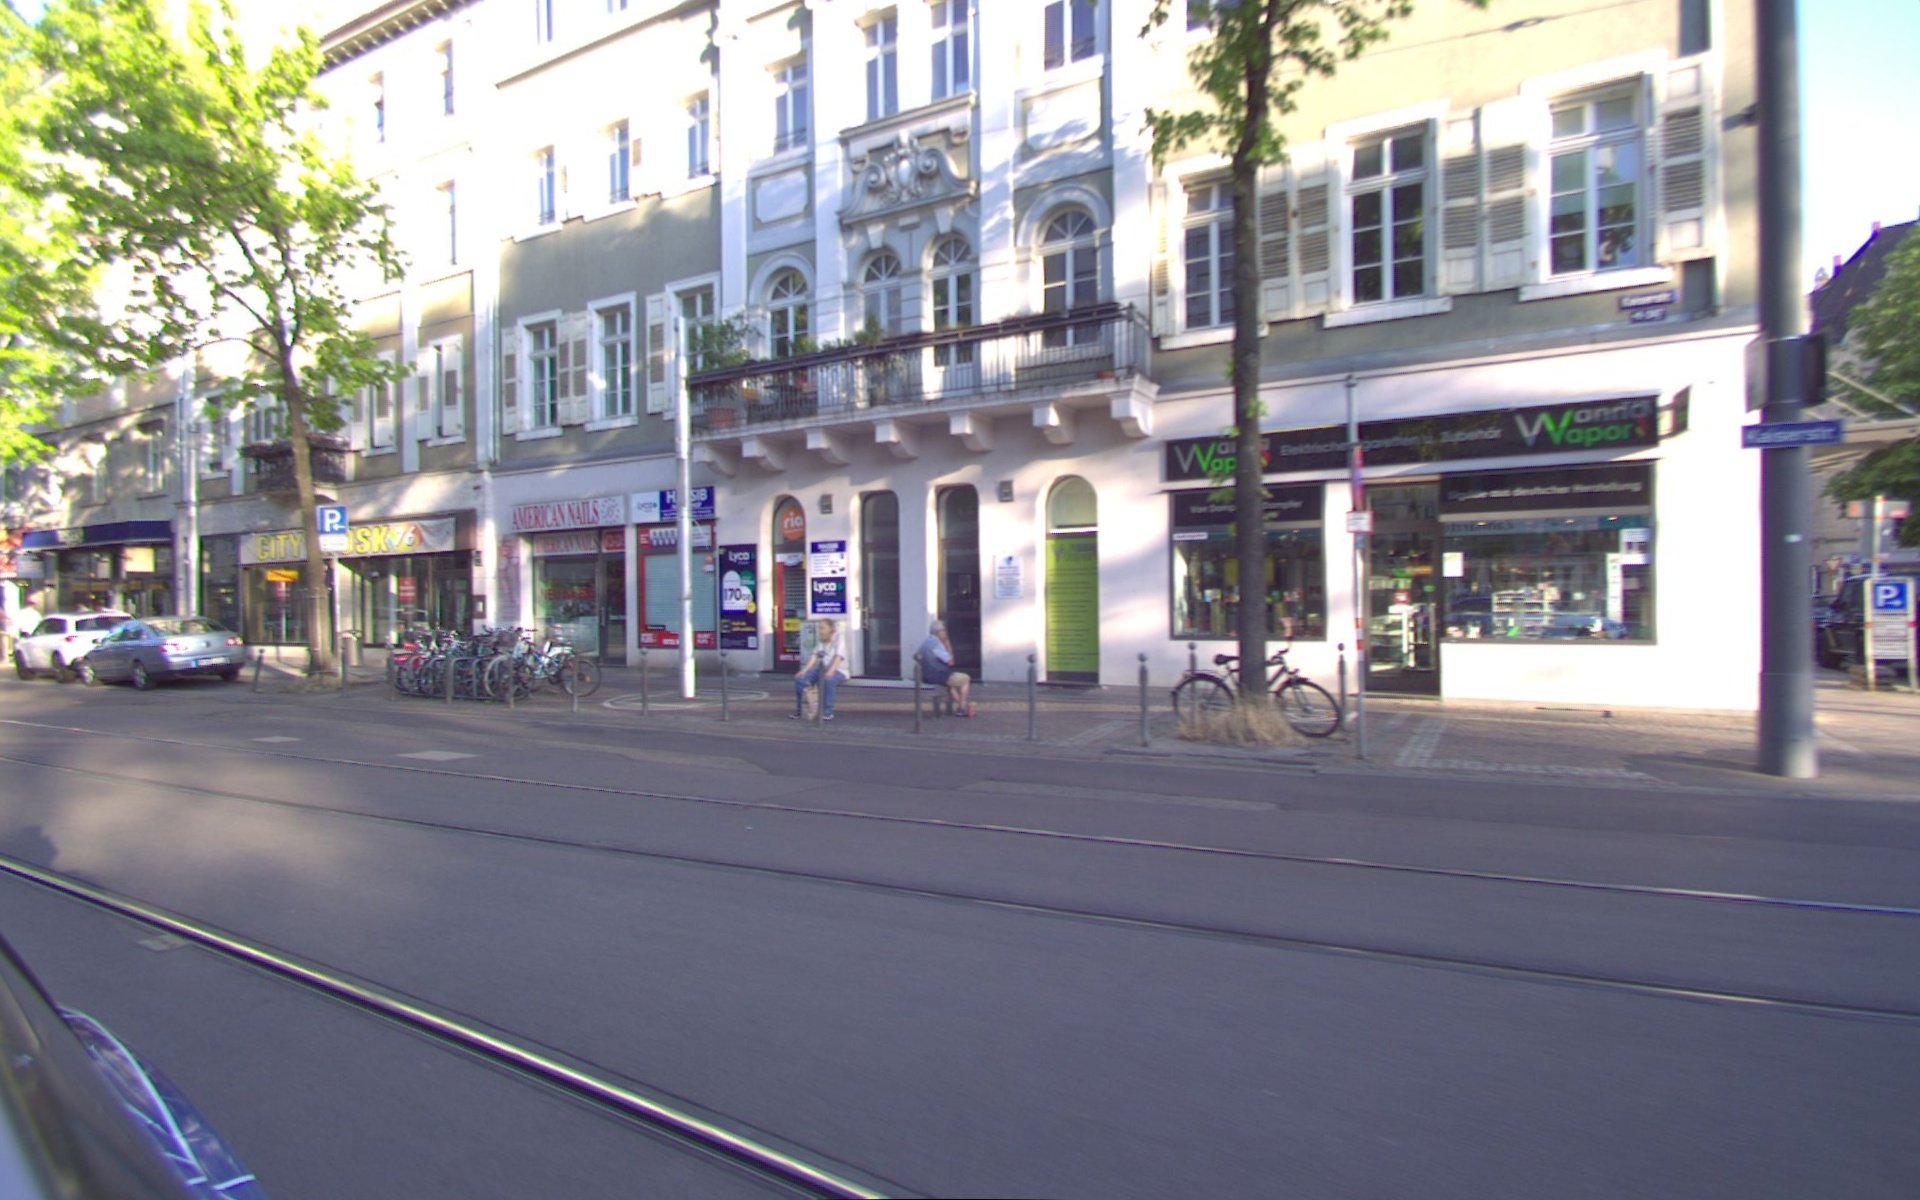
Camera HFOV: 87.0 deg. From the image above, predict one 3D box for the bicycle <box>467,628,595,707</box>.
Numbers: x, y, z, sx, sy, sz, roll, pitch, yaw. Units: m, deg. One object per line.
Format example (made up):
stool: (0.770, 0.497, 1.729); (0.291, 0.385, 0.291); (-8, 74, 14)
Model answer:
bicycle: (-7.067, 1.084, 16.781); (0.499, 1.113, 2.008); (0, 2, 32)

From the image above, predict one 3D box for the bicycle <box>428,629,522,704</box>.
bicycle: (-8.337, 1.116, 17.499); (0.495, 1.113, 2.027); (-1, 1, 5)

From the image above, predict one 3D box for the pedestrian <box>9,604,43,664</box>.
pedestrian: (-31.904, 1.157, 34.570); (0.640, 2.029, 0.717); (-1, -1, 30)

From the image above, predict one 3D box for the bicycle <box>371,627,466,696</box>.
bicycle: (-9.980, 1.109, 18.732); (0.560, 1.113, 1.949); (-1, 1, 5)

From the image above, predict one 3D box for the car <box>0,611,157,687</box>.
car: (-21.701, 1.159, 24.758); (4.100, 1.591, 1.824); (-1, 3, 31)

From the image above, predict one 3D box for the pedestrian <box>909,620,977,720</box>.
pedestrian: (-0.214, 0.871, 12.847); (0.639, 1.203, 0.587); (-2, 0, 27)

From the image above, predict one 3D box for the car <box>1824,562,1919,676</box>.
car: (18.642, 0.309, 19.576); (1.917, 2.029, 4.590); (-1, 0, 28)

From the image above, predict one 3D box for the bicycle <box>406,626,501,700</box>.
bicycle: (-8.856, 1.078, 17.797); (0.495, 1.113, 2.027); (-1, 1, 5)

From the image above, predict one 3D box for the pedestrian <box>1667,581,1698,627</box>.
pedestrian: (25.066, 0.147, 35.125); (0.769, 1.569, 0.737); (-2, -1, 31)

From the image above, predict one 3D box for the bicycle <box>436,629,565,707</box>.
bicycle: (-7.650, 1.098, 16.937); (0.499, 1.113, 2.008); (0, 2, 32)

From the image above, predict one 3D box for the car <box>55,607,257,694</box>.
car: (-17.519, 1.050, 22.006); (4.684, 1.591, 1.824); (-1, 3, 31)

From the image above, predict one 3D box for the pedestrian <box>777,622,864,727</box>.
pedestrian: (-1.826, 0.957, 13.311); (0.852, 1.300, 0.723); (-2, 0, 28)

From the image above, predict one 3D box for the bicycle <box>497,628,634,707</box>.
bicycle: (-6.342, 1.062, 16.301); (1.995, 1.113, 0.503); (-2, 1, -25)

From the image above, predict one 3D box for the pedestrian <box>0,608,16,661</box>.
pedestrian: (-32.446, 1.158, 34.037); (1.085, 1.773, 0.717); (-1, -1, 30)

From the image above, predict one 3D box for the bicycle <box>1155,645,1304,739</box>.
bicycle: (2.884, 0.968, 10.905); (1.504, 0.953, 0.334); (-2, -1, 31)

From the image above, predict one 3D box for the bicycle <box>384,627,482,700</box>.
bicycle: (-9.387, 1.102, 18.124); (0.495, 1.113, 2.112); (-1, 1, 5)
